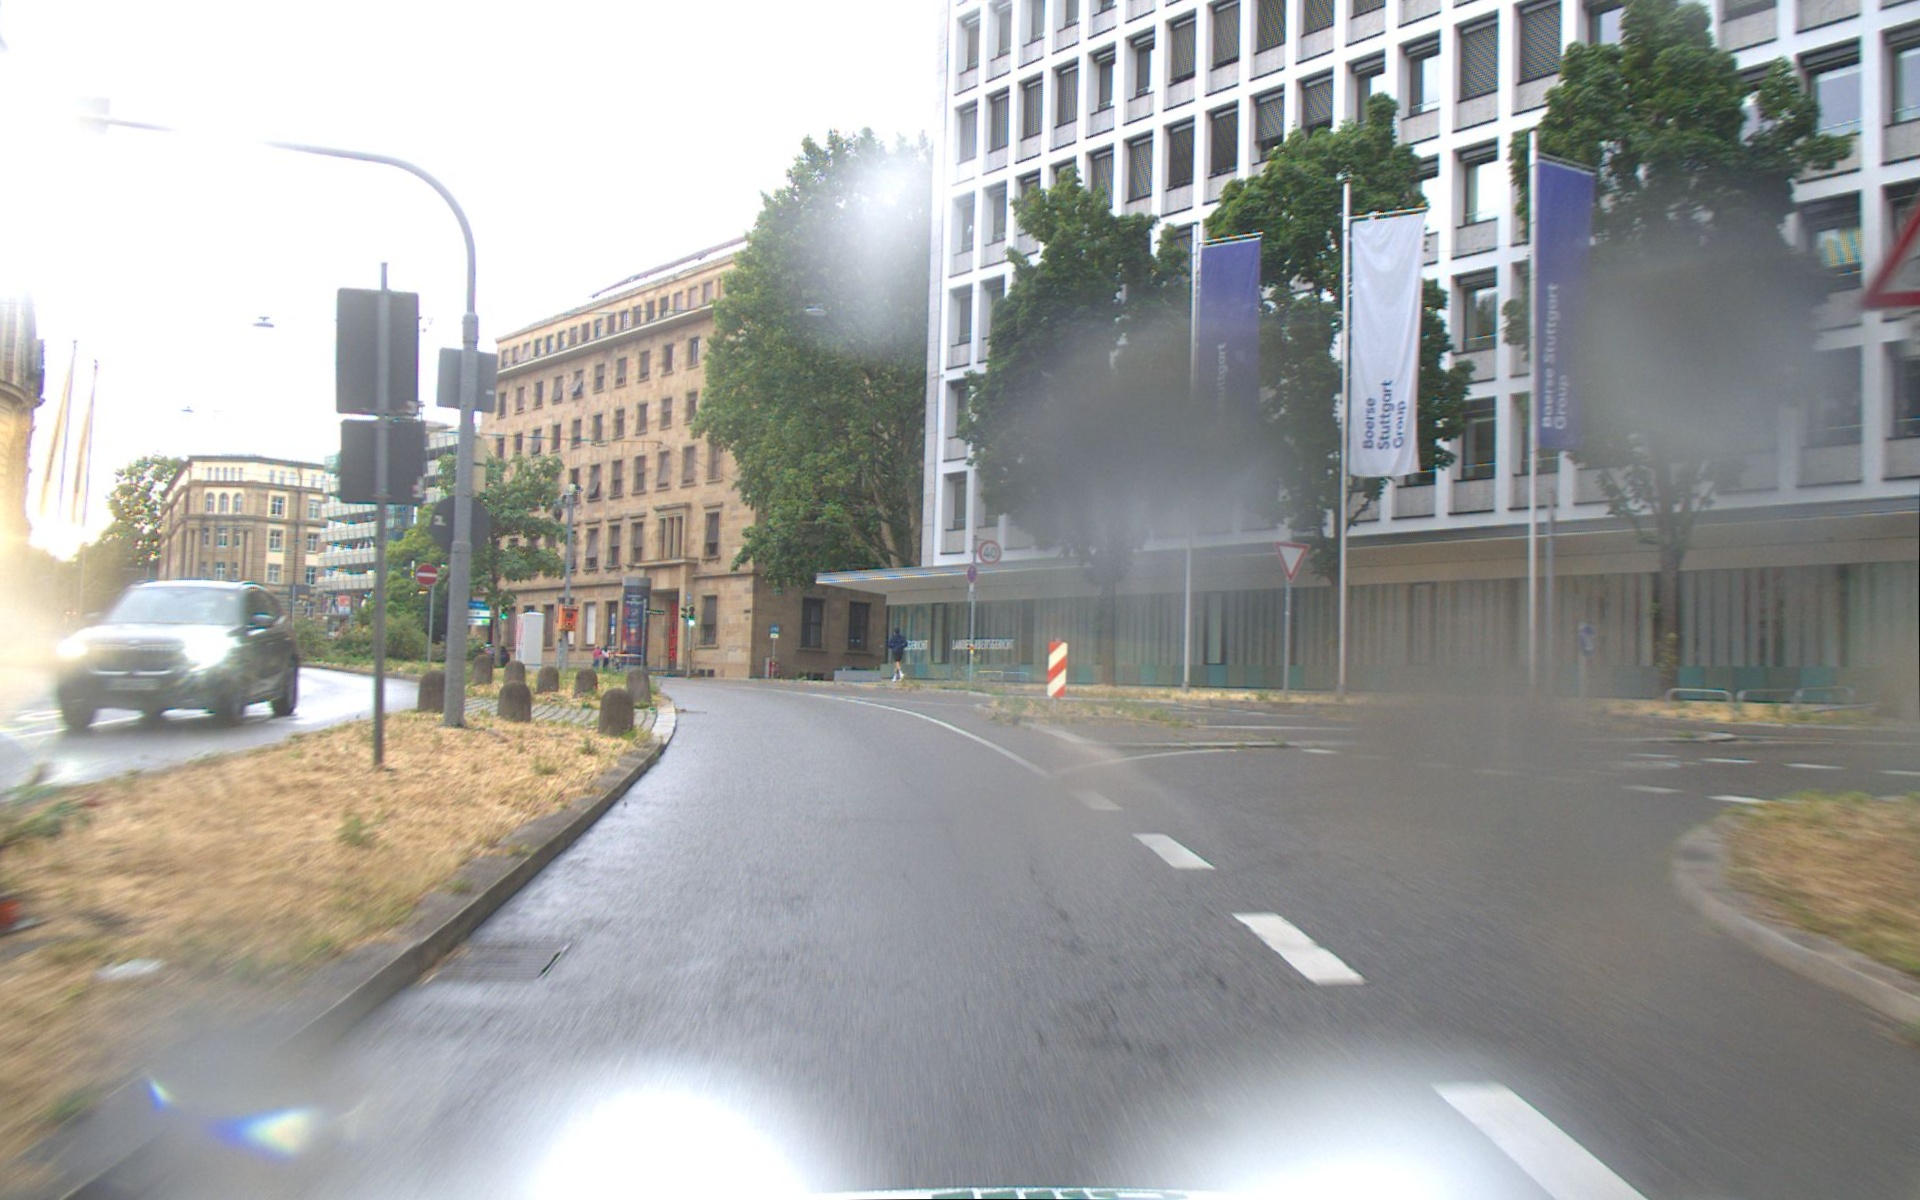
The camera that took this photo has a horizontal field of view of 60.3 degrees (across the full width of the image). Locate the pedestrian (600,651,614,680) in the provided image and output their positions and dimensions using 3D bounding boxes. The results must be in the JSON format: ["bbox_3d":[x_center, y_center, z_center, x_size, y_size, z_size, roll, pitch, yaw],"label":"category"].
[{"bbox_3d":[-20.382,3.789,95.451,0.520,1.631,0.666,4,-4,-34],"label":"pedestrian"}]

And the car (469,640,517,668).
[{"bbox_3d":[-29.456,3.420,104.250,1.751,1.648,4.112,4,-4,-31],"label":"car"}]

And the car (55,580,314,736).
[{"bbox_3d":[-8.944,0.591,19.465,1.813,1.616,4.375,0,0,-12],"label":"car"}]

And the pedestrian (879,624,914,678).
[{"bbox_3d":[-2.139,1.718,55.686,0.772,1.803,0.852,4,-3,-34],"label":"pedestrian"}]

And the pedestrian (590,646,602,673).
[{"bbox_3d":[-20.880,3.422,94.966,0.517,1.518,0.669,3,-3,-21],"label":"pedestrian"}]

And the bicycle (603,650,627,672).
[{"bbox_3d":[-16.729,2.973,80.138,0.484,1.030,1.906,4,-4,-32],"label":"bicycle"}]
